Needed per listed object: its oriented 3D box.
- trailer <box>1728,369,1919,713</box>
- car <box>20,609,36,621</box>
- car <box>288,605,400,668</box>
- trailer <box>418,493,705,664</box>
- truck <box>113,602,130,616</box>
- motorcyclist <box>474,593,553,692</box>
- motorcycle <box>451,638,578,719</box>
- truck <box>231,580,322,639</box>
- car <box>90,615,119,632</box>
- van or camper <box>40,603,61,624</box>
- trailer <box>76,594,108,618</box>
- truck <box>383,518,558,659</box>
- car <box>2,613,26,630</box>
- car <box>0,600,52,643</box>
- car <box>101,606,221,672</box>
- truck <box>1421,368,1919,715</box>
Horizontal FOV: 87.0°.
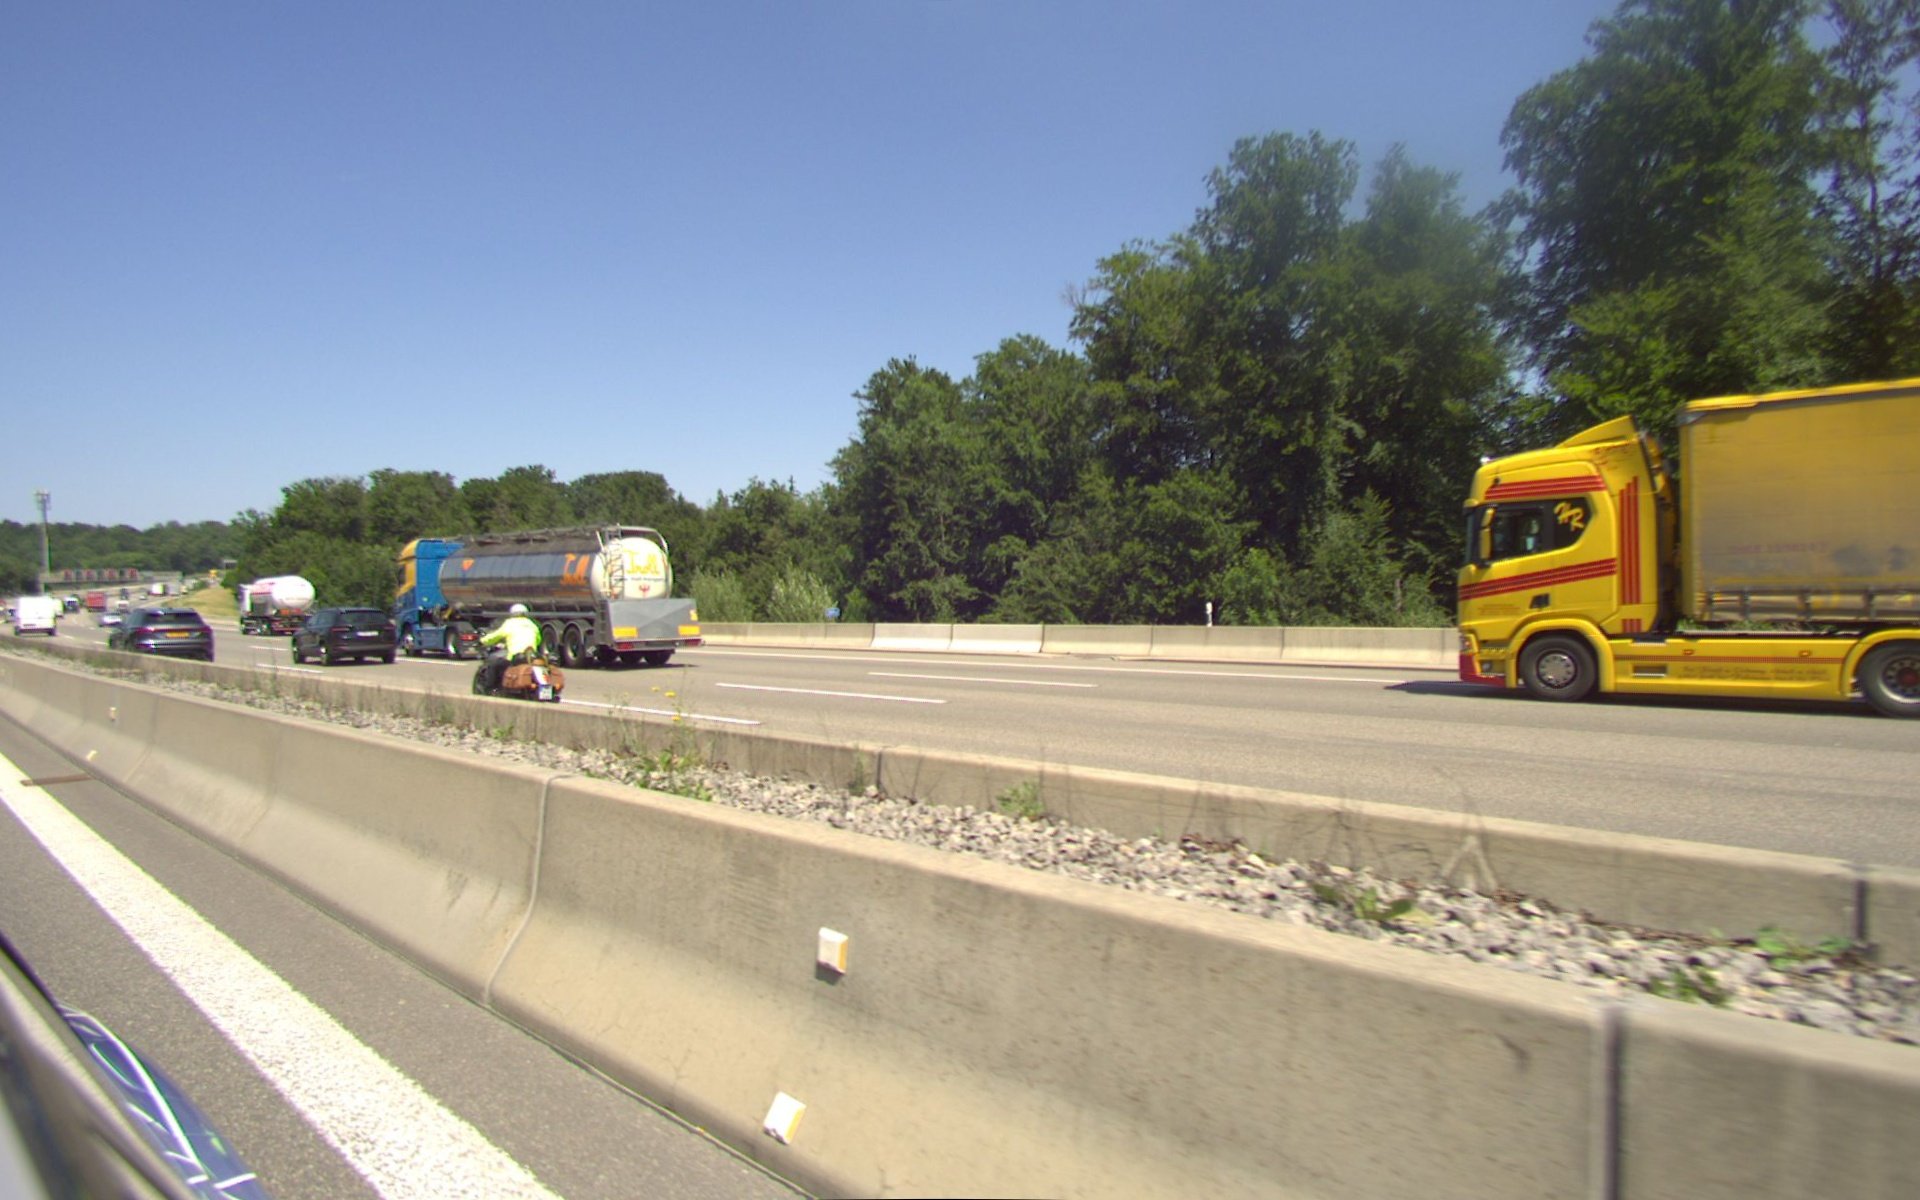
[{"bbox_3d":[15.933,-0.772,9.490,13.720,4.035,2.694,-1,-1,42],"label":"trailer"},{"bbox_3d":[-160.525,2.619,174.302,1.884,1.997,4.644,-2,1,-44],"label":"car"},{"bbox_3d":[-17.574,1.007,28.811,4.060,1.656,1.701,-1,-1,43],"label":"car"},{"bbox_3d":[-11.461,-0.421,28.017,11.693,3.910,2.511,-1,-1,42],"label":"trailer"},{"bbox_3d":[-148.042,1.533,178.672,2.022,2.271,8.835,-2,1,-41],"label":"truck"},{"bbox_3d":[-6.400,0.596,14.498,0.905,1.371,0.720,-2,-1,42],"label":"motorcyclist"},{"bbox_3d":[-6.442,1.089,14.546,2.527,1.021,0.719,-1,-1,42],"label":"motorcycle"},{"bbox_3d":[-43.542,0.569,64.303,9.882,3.491,2.581,-1,1,43],"label":"truck"},{"bbox_3d":[-82.920,2.235,98.077,4.496,1.493,1.743,-1,1,45],"label":"car"},{"bbox_3d":[-127.352,1.874,141.732,1.970,2.821,7.421,0,-1,-43],"label":"van or camper"},{"bbox_3d":[-166.337,1.041,193.766,3.791,4.312,14.488,-2,1,-44],"label":"trailer"},{"bbox_3d":[-15.422,-0.277,31.645,6.799,3.970,2.504,-1,-1,42],"label":"truck"},{"bbox_3d":[-111.610,2.537,119.374,4.589,1.885,1.799,-1,-1,43],"label":"car"},{"bbox_3d":[-62.944,1.450,68.068,6.306,2.709,2.075,-2,0,42],"label":"car"},{"bbox_3d":[-22.870,1.055,28.883,4.953,1.718,1.972,-1,-1,43],"label":"car"},{"bbox_3d":[10.507,-0.658,14.277,6.749,4.048,2.721,-1,-1,42],"label":"truck"}]
